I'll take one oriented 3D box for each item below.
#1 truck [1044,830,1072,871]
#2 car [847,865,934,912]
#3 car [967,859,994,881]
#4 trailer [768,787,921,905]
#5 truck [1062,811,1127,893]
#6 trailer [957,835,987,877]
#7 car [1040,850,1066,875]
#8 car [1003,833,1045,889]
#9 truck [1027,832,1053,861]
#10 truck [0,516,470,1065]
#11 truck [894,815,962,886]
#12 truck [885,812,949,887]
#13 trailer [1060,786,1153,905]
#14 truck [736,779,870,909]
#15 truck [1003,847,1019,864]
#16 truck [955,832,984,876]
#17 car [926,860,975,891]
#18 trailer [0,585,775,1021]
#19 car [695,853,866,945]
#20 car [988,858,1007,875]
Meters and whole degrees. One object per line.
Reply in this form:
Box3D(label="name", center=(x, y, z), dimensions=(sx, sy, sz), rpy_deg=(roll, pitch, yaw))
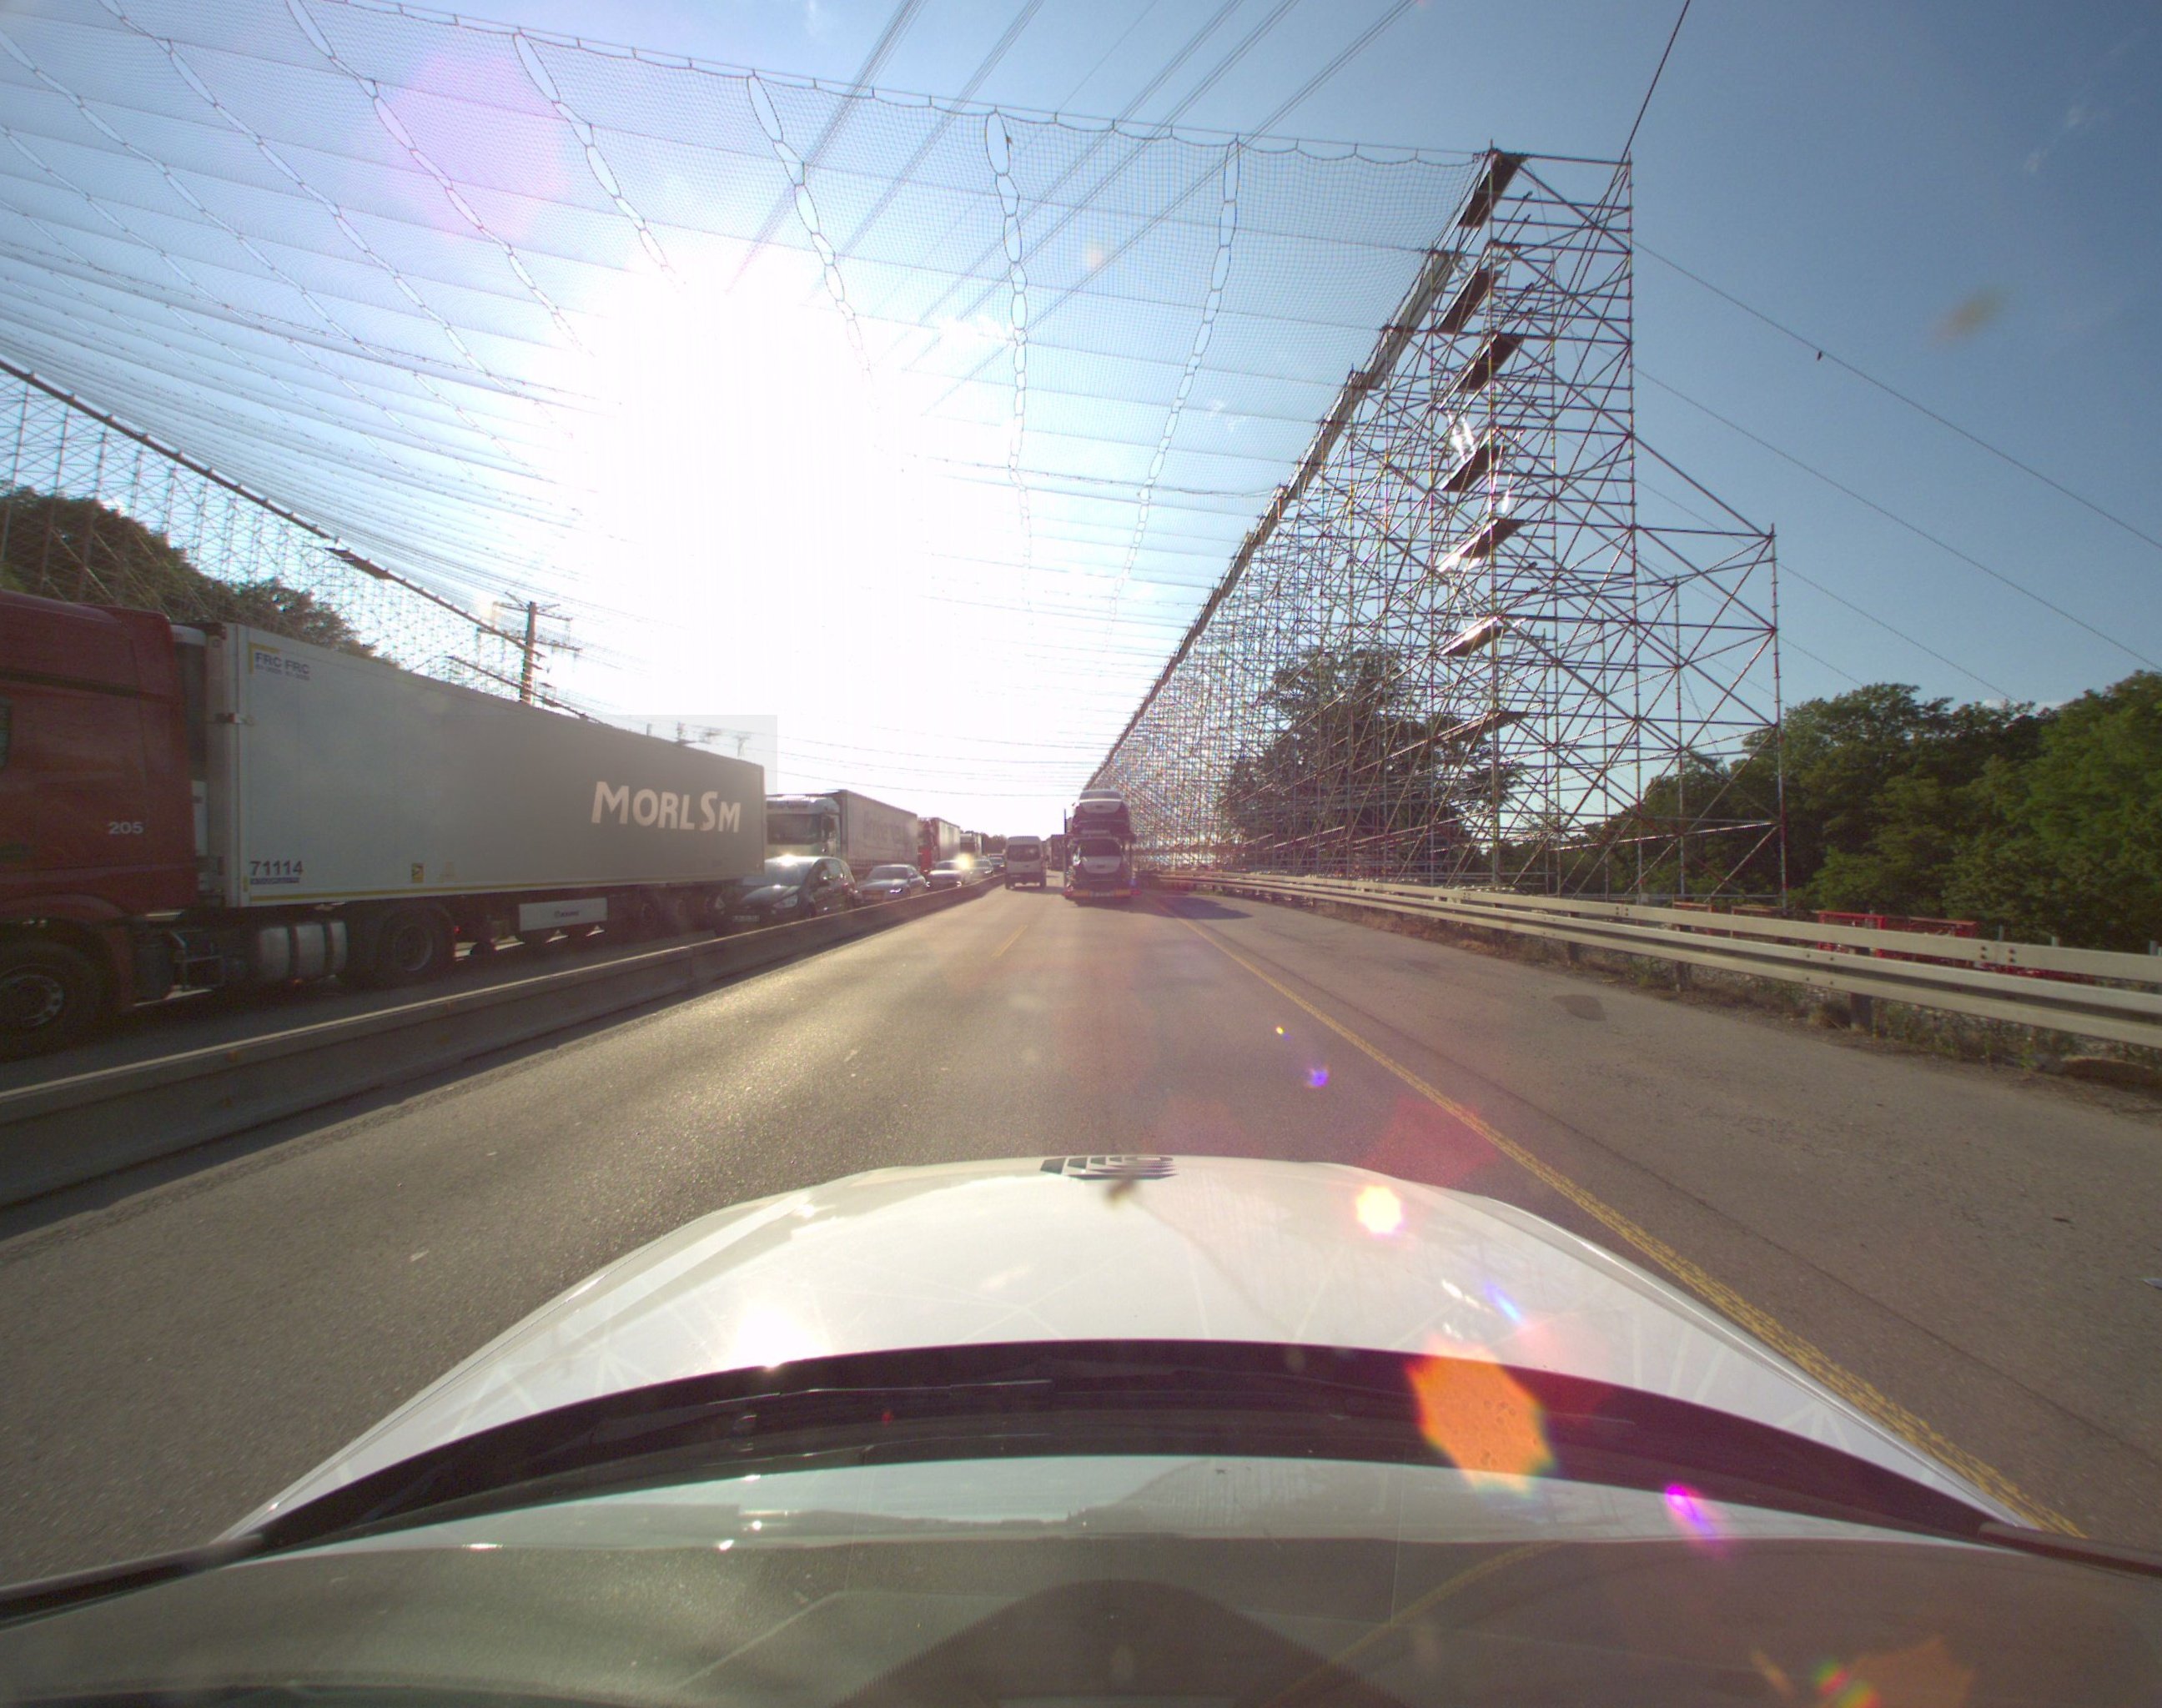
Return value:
Box3D(label="truck", center=(-2.719, -0.376, 94.366), dimensions=(2.727, 4.385, 11.503), rpy_deg=(0, 0, -4))
Box3D(label="car", center=(-6.240, 1.077, 27.173), dimensions=(1.726, 1.377, 4.890), rpy_deg=(1, 0, 0))
Box3D(label="car", center=(-6.983, 1.113, 56.889), dimensions=(1.647, 1.464, 4.393), rpy_deg=(0, 0, -4))
Box3D(label="trailer", center=(-9.791, -0.211, 35.989), dimensions=(2.790, 4.141, 13.960), rpy_deg=(-1, -1, -1))
Box3D(label="truck", center=(0.544, -0.055, 40.935), dimensions=(2.874, 3.702, 7.319), rpy_deg=(-1, -1, -2))
Box3D(label="trailer", center=(-11.724, 0.187, 88.818), dimensions=(2.649, 4.233, 13.892), rpy_deg=(0, 0, -5))
Box3D(label="car", center=(-2.333, 0.726, 67.771), dimensions=(1.987, 2.014, 3.999), rpy_deg=(-1, -1, 0))
Box3D(label="car", center=(-2.846, 0.384, 41.332), dimensions=(1.952, 2.621, 3.995), rpy_deg=(-2, -1, -3))
Box3D(label="truck", center=(-6.799, -1.187, 132.449), dimensions=(3.681, 4.220, 13.646), rpy_deg=(-4, 0, -4))
Box3D(label="truck", center=(-9.795, -0.459, 8.204), dimensions=(2.736, 4.300, 5.933), rpy_deg=(-1, -1, 0))
Box3D(label="truck", center=(-10.064, -0.139, 55.076), dimensions=(2.782, 4.141, 13.788), rpy_deg=(-1, -1, -4))
Box3D(label="truck", center=(-9.634, -0.212, 48.414), dimensions=(2.782, 4.141, 6.669), rpy_deg=(-1, -1, -4))
Box3D(label="trailer", center=(0.686, -0.191, 33.167), dimensions=(2.860, 3.725, 14.939), rpy_deg=(-1, -1, -1))
Box3D(label="truck", center=(-9.736, -0.285, 29.278), dimensions=(2.779, 4.141, 5.931), rpy_deg=(-1, -1, -1))
Box3D(label="truck", center=(-15.771, 0.254, 182.916), dimensions=(2.617, 3.723, 9.621), rpy_deg=(0, 0, -11))
Box3D(label="truck", center=(-11.128, 0.042, 81.915), dimensions=(2.659, 4.230, 6.091), rpy_deg=(-1, 0, -6))
Box3D(label="car", center=(-6.572, 1.057, 41.492), dimensions=(1.726, 1.439, 4.837), rpy_deg=(1, 0, 0))
Box3D(label="trailer", center=(-9.754, -0.447, 15.109), dimensions=(2.757, 4.334, 13.879), rpy_deg=(-1, -1, 0))
Box3D(label="car", center=(-6.209, 0.848, 17.506), dimensions=(1.746, 1.657, 4.863), rpy_deg=(-1, 0, 1))
Box3D(label="car", center=(-8.145, 1.194, 79.653), dimensions=(1.739, 1.535, 4.261), rpy_deg=(0, 0, -4))
